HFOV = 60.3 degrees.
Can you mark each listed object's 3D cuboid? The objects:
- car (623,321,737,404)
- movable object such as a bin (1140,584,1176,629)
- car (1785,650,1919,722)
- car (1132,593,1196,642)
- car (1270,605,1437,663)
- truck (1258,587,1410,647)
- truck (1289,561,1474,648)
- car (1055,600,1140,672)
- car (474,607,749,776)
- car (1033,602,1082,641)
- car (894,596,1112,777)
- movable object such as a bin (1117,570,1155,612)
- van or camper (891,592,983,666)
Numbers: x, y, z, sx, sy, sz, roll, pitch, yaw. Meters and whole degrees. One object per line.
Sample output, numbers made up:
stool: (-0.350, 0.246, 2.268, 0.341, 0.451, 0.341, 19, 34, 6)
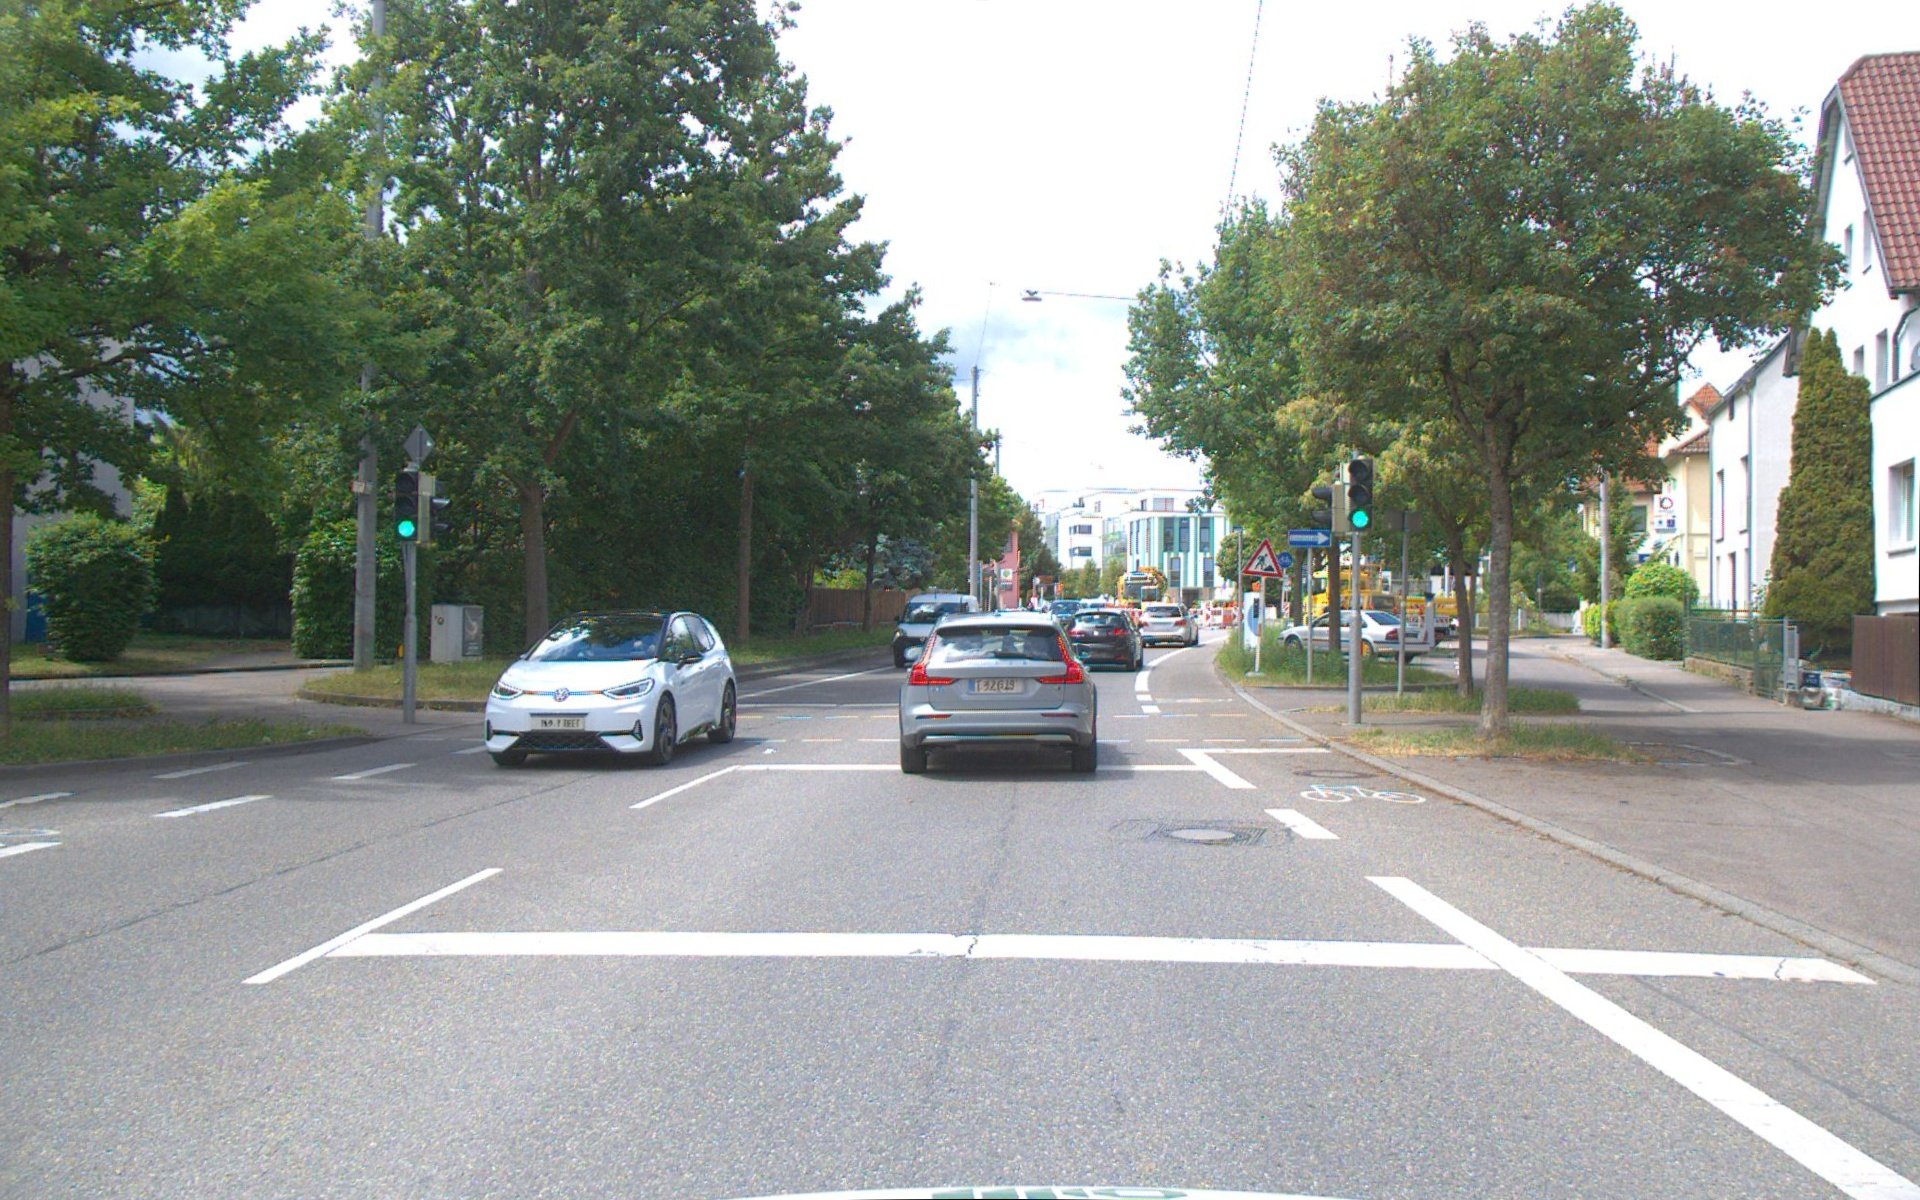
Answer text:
car: (-7.134, -6.053, 42.517, 1.790, 1.353, 4.002, 3, -2, 7)
movable object such as a bin: (12.234, 0.414, 101.948, 1.991, 2.689, 5.944, 0, 0, 8)
car: (16.222, 1.540, 30.199, 1.431, 1.144, 3.873, 2, -1, 18)
car: (7.124, 0.634, 57.583, 2.058, 1.536, 4.003, 3, -1, 8)
car: (11.097, 0.932, 46.918, 1.747, 1.477, 4.633, 1, 0, -34)
truck: (13.907, 0.604, 61.790, 1.978, 2.049, 5.606, 4, -1, -36)
truck: (16.101, 0.132, 63.573, 2.740, 3.061, 6.620, 4, -1, -37)
car: (3.212, 0.847, 39.259, 1.627, 1.534, 3.702, -3, -1, 0)
car: (-3.606, 0.924, 17.872, 1.859, 1.607, 4.002, -1, -1, 4)
car: (4.504, 0.989, 75.947, 1.840, 1.717, 4.250, -1, -1, 9)
car: (0.466, 0.784, 16.392, 1.888, 1.567, 4.001, 0, -1, 3)
movable object such as a bin: (13.214, -0.664, 124.593, 2.263, 3.042, 6.427, 0, 0, 0)
van or camper: (-0.538, 0.728, 42.961, 1.821, 1.807, 4.383, 0, 0, 7)
